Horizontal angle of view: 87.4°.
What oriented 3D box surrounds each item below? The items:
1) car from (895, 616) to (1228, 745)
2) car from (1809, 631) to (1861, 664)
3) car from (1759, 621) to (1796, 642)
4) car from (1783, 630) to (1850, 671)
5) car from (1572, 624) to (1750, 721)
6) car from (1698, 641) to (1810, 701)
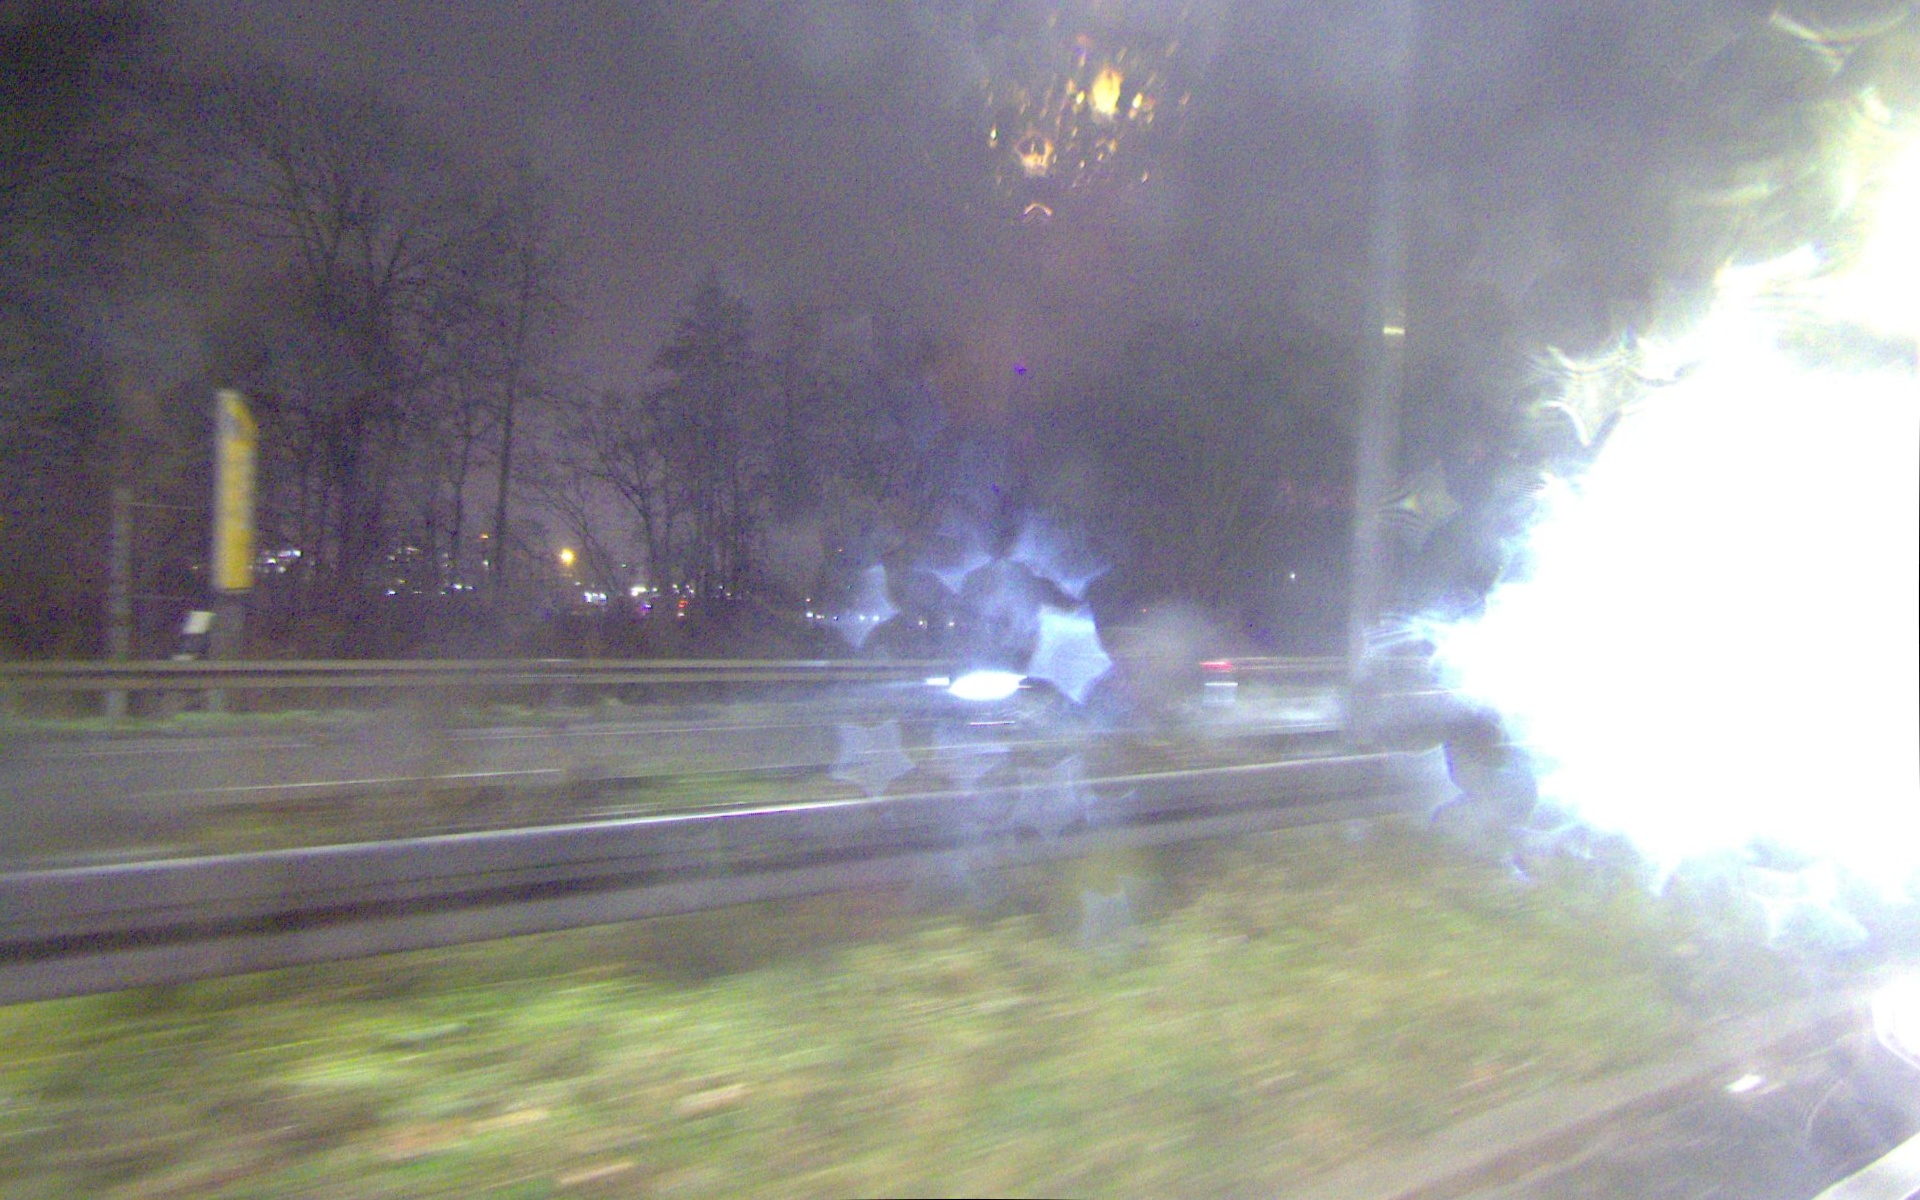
[{"bbox_3d":[1.514,1.000,14.022,4.618,1.442,1.701,0,1,-34],"label":"car"},{"bbox_3d":[45.055,2.446,51.680,1.756,1.614,4.532,-1,-2,44],"label":"car"},{"bbox_3d":[61.998,2.411,76.223,1.717,1.522,3.990,1,-1,33],"label":"car"},{"bbox_3d":[36.166,2.083,42.383,3.483,1.592,1.830,1,-1,-44],"label":"car"},{"bbox_3d":[13.691,1.362,19.532,4.215,1.629,1.853,3,-2,-41],"label":"car"},{"bbox_3d":[24.479,2.135,30.926,4.212,1.653,1.752,1,0,-38],"label":"car"}]
